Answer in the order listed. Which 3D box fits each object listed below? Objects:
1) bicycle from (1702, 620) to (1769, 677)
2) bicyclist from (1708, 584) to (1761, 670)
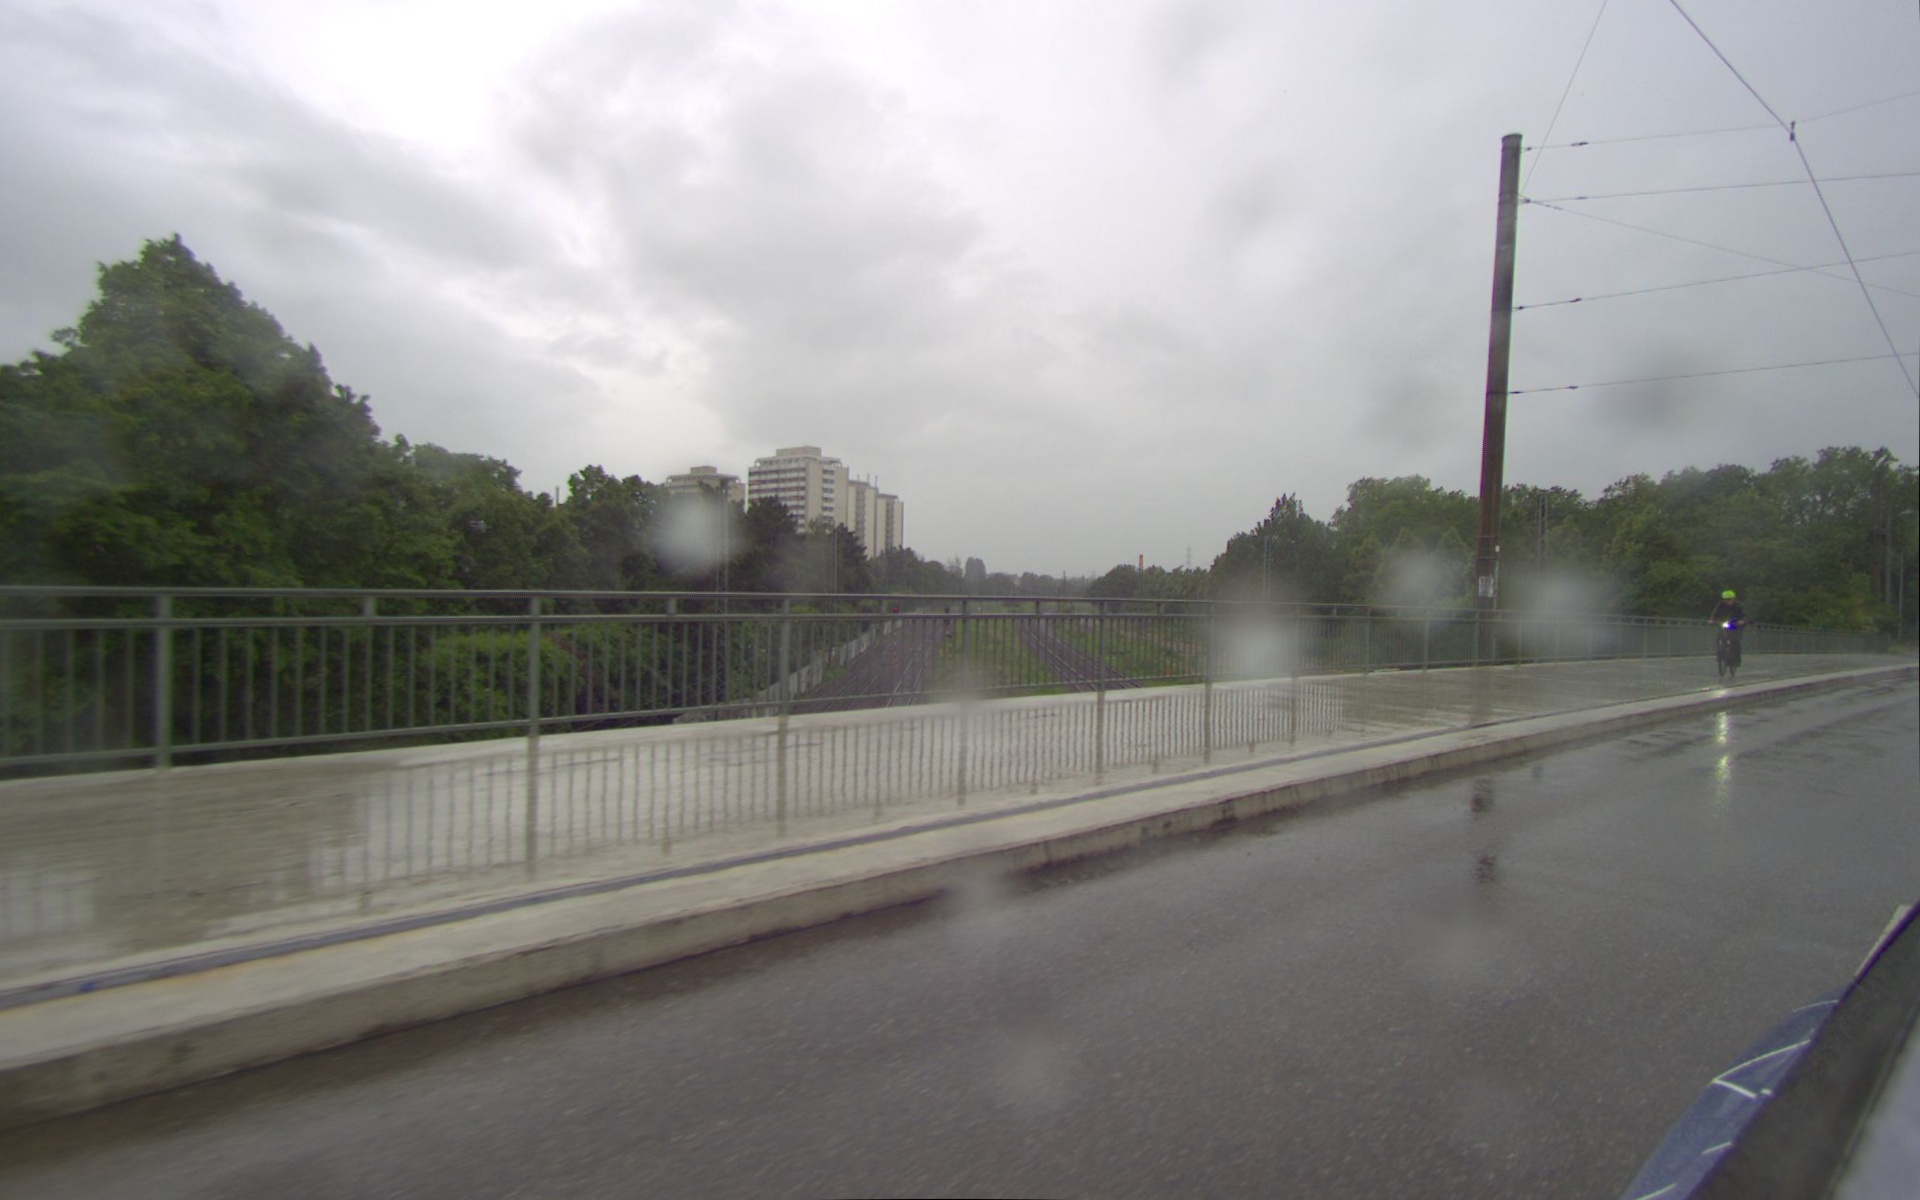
[{"bbox_3d":[16.537,1.015,21.573,2.130,1.143,0.724,1,-1,-41],"label":"bicycle"},{"bbox_3d":[16.520,0.555,21.585,0.933,1.786,0.726,0,0,-41],"label":"bicyclist"}]
